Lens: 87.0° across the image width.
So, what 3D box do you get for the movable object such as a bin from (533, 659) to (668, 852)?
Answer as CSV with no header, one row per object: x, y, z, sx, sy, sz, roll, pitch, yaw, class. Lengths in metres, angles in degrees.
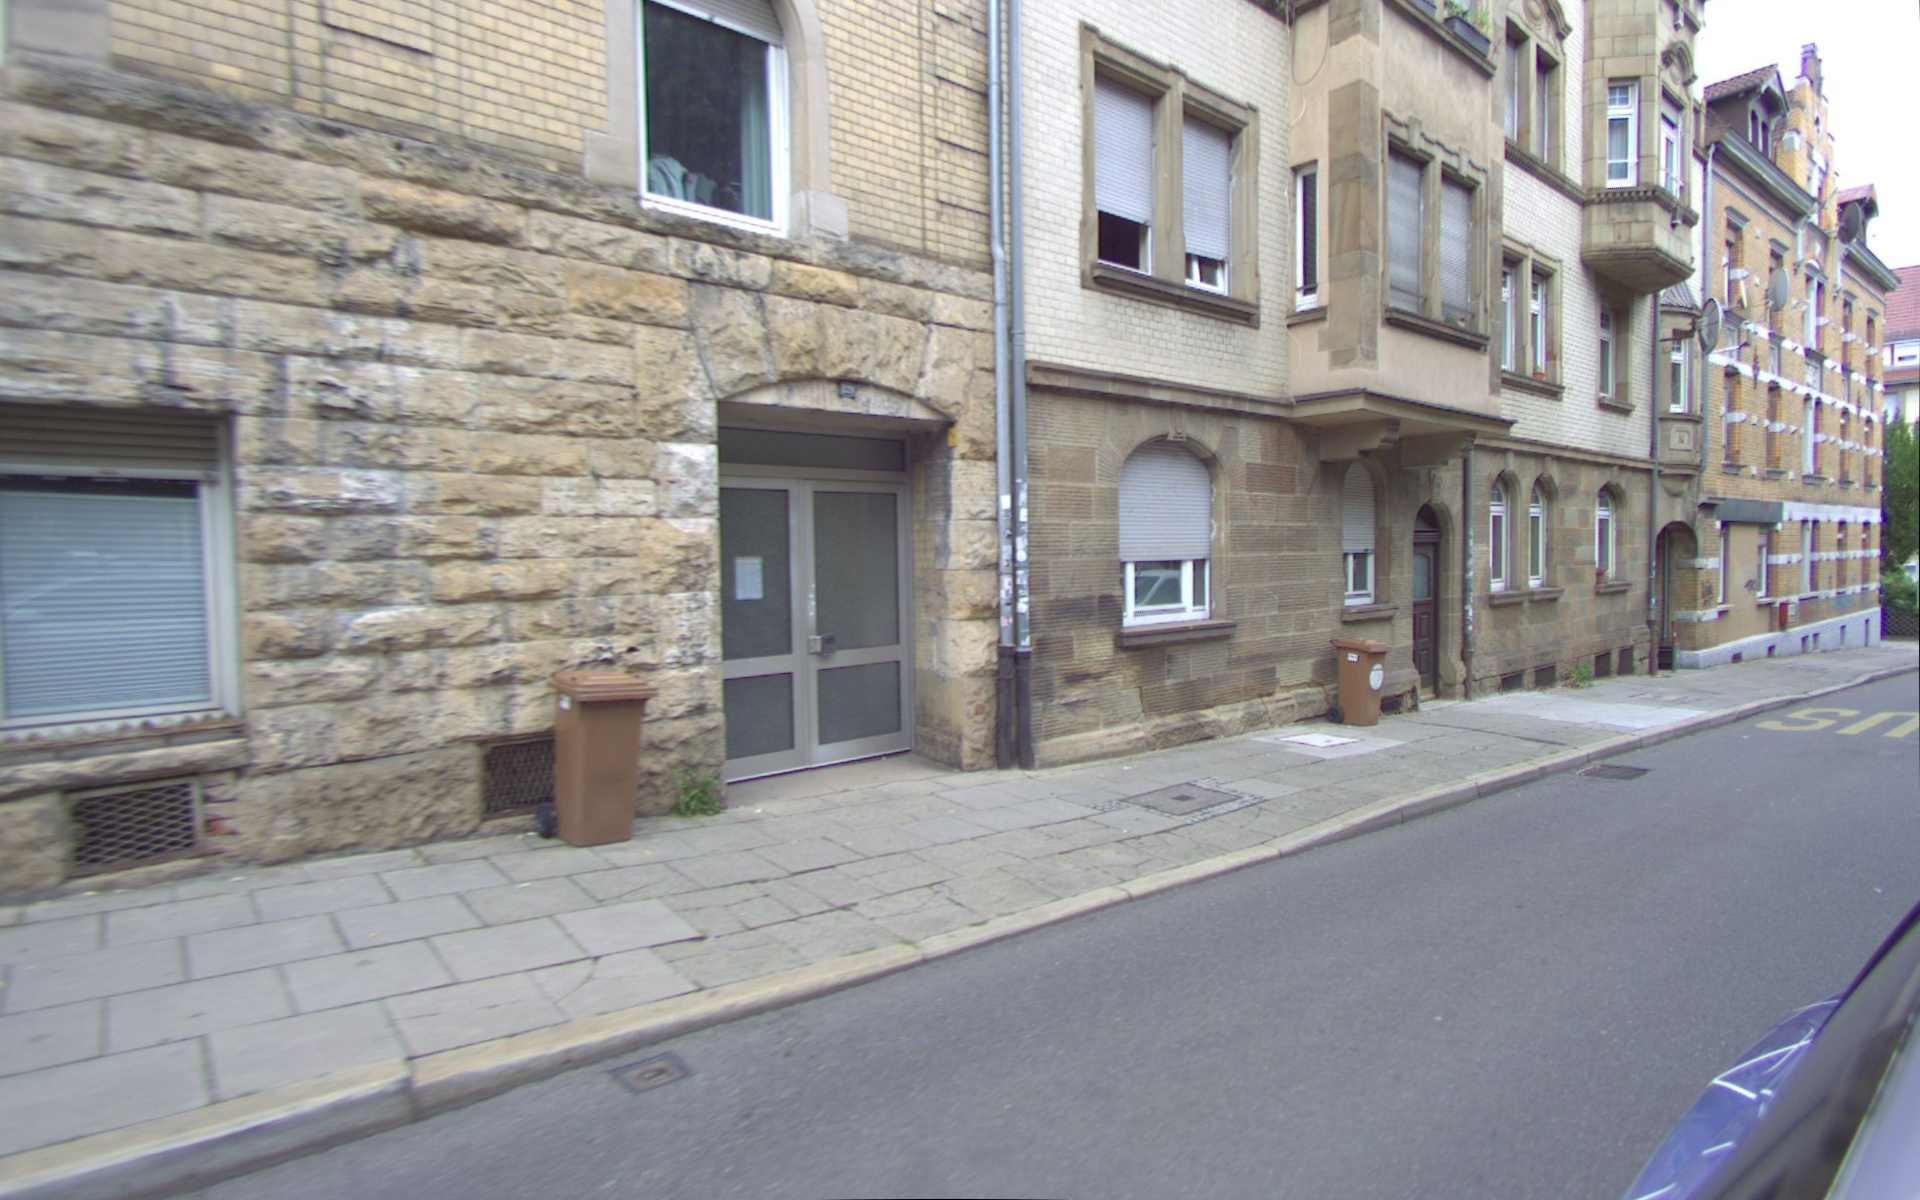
-1.999,0.828,5.619,0.494,0.915,0.595,-5,3,-39,movable object such as a bin

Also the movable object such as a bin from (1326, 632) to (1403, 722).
4.405,0.821,11.023,0.553,0.915,0.595,0,0,-40,movable object such as a bin
